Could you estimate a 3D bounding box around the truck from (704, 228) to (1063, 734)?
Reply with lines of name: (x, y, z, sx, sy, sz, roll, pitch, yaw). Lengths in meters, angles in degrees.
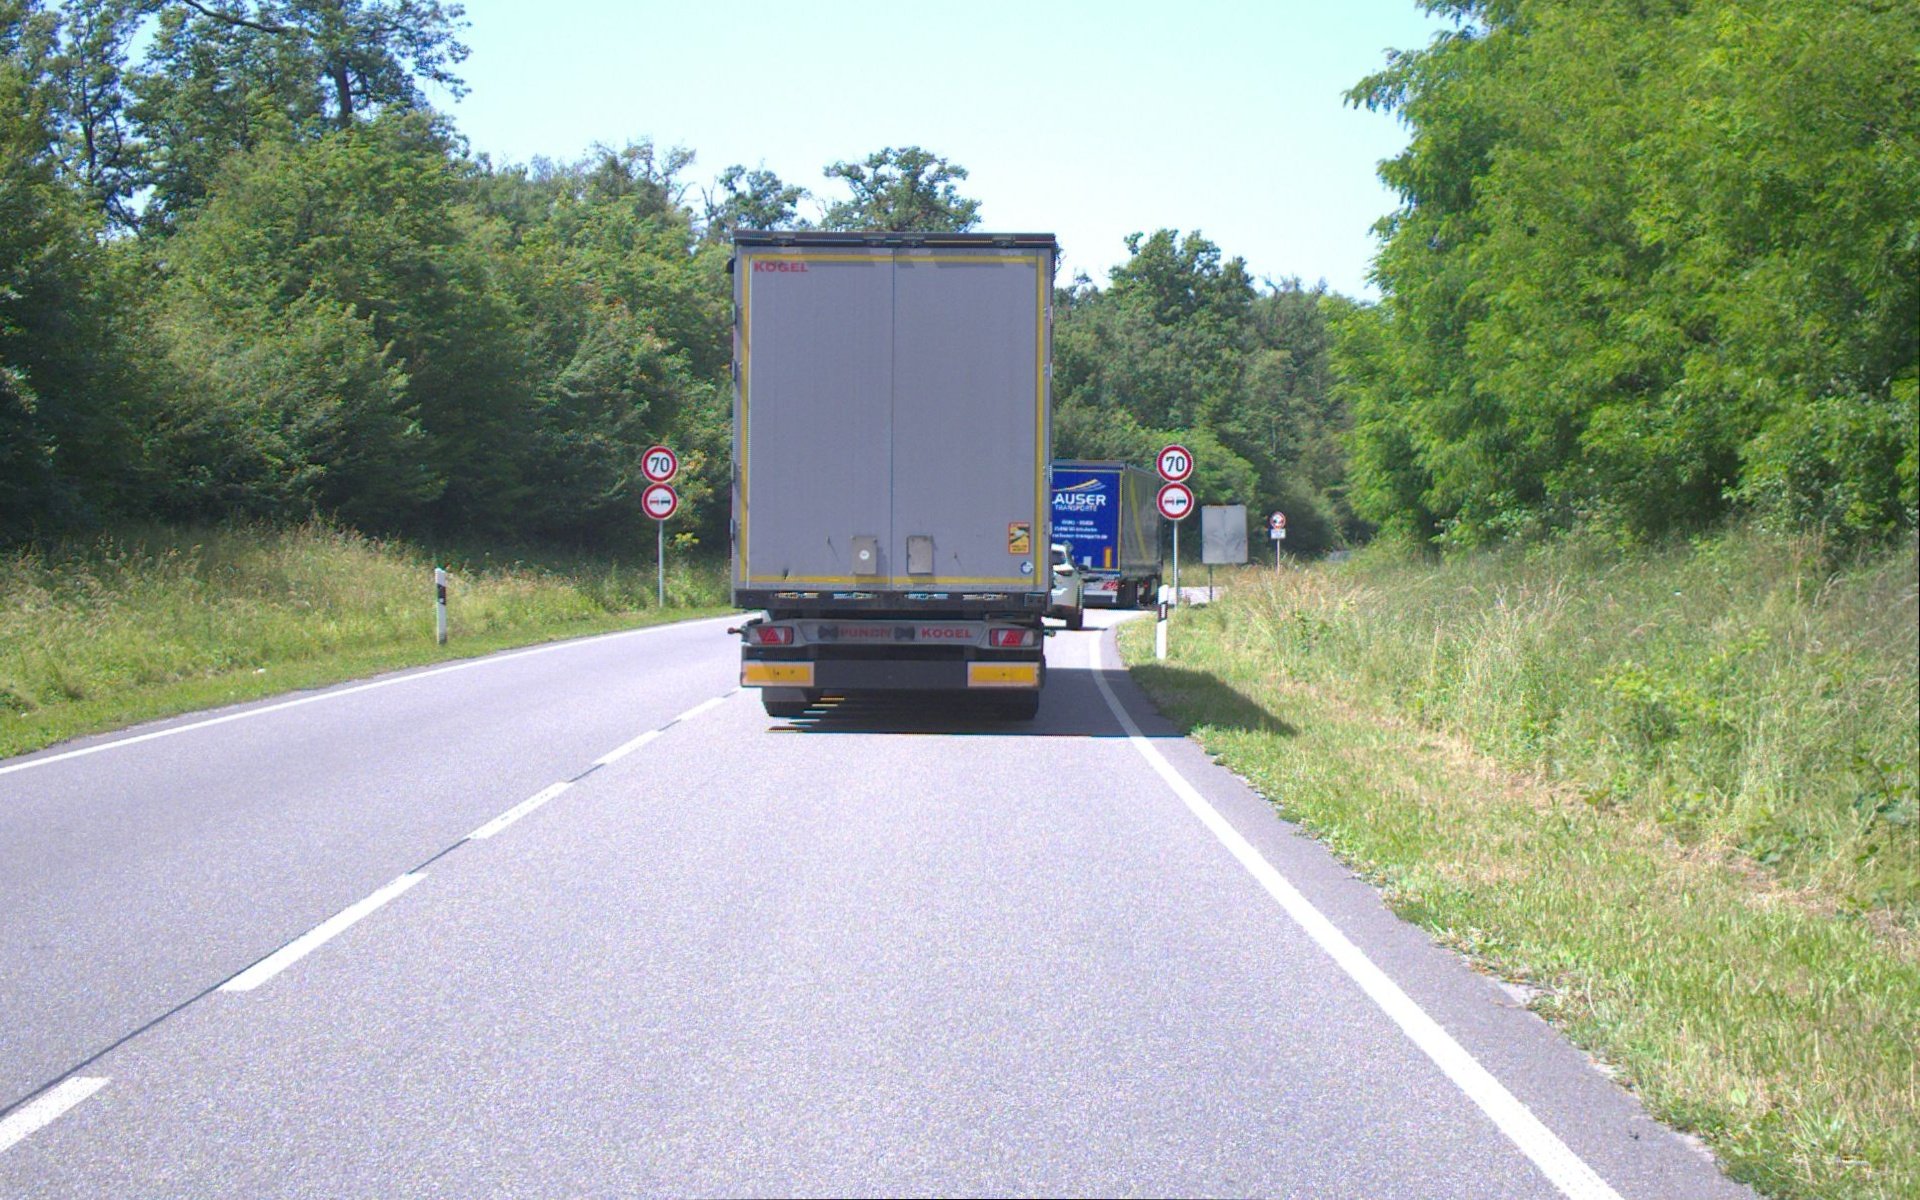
truck: (-0.613, -1.068, 33.155, 2.761, 3.933, 12.198, 1, 1, 0)

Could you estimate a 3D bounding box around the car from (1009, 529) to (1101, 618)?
car: (1.882, -0.546, 67.623, 1.770, 1.703, 4.000, 0, 1, 2)

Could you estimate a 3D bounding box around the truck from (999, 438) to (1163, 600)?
truck: (3.694, -2.336, 100.239, 3.794, 4.358, 14.917, 0, 1, 6)
